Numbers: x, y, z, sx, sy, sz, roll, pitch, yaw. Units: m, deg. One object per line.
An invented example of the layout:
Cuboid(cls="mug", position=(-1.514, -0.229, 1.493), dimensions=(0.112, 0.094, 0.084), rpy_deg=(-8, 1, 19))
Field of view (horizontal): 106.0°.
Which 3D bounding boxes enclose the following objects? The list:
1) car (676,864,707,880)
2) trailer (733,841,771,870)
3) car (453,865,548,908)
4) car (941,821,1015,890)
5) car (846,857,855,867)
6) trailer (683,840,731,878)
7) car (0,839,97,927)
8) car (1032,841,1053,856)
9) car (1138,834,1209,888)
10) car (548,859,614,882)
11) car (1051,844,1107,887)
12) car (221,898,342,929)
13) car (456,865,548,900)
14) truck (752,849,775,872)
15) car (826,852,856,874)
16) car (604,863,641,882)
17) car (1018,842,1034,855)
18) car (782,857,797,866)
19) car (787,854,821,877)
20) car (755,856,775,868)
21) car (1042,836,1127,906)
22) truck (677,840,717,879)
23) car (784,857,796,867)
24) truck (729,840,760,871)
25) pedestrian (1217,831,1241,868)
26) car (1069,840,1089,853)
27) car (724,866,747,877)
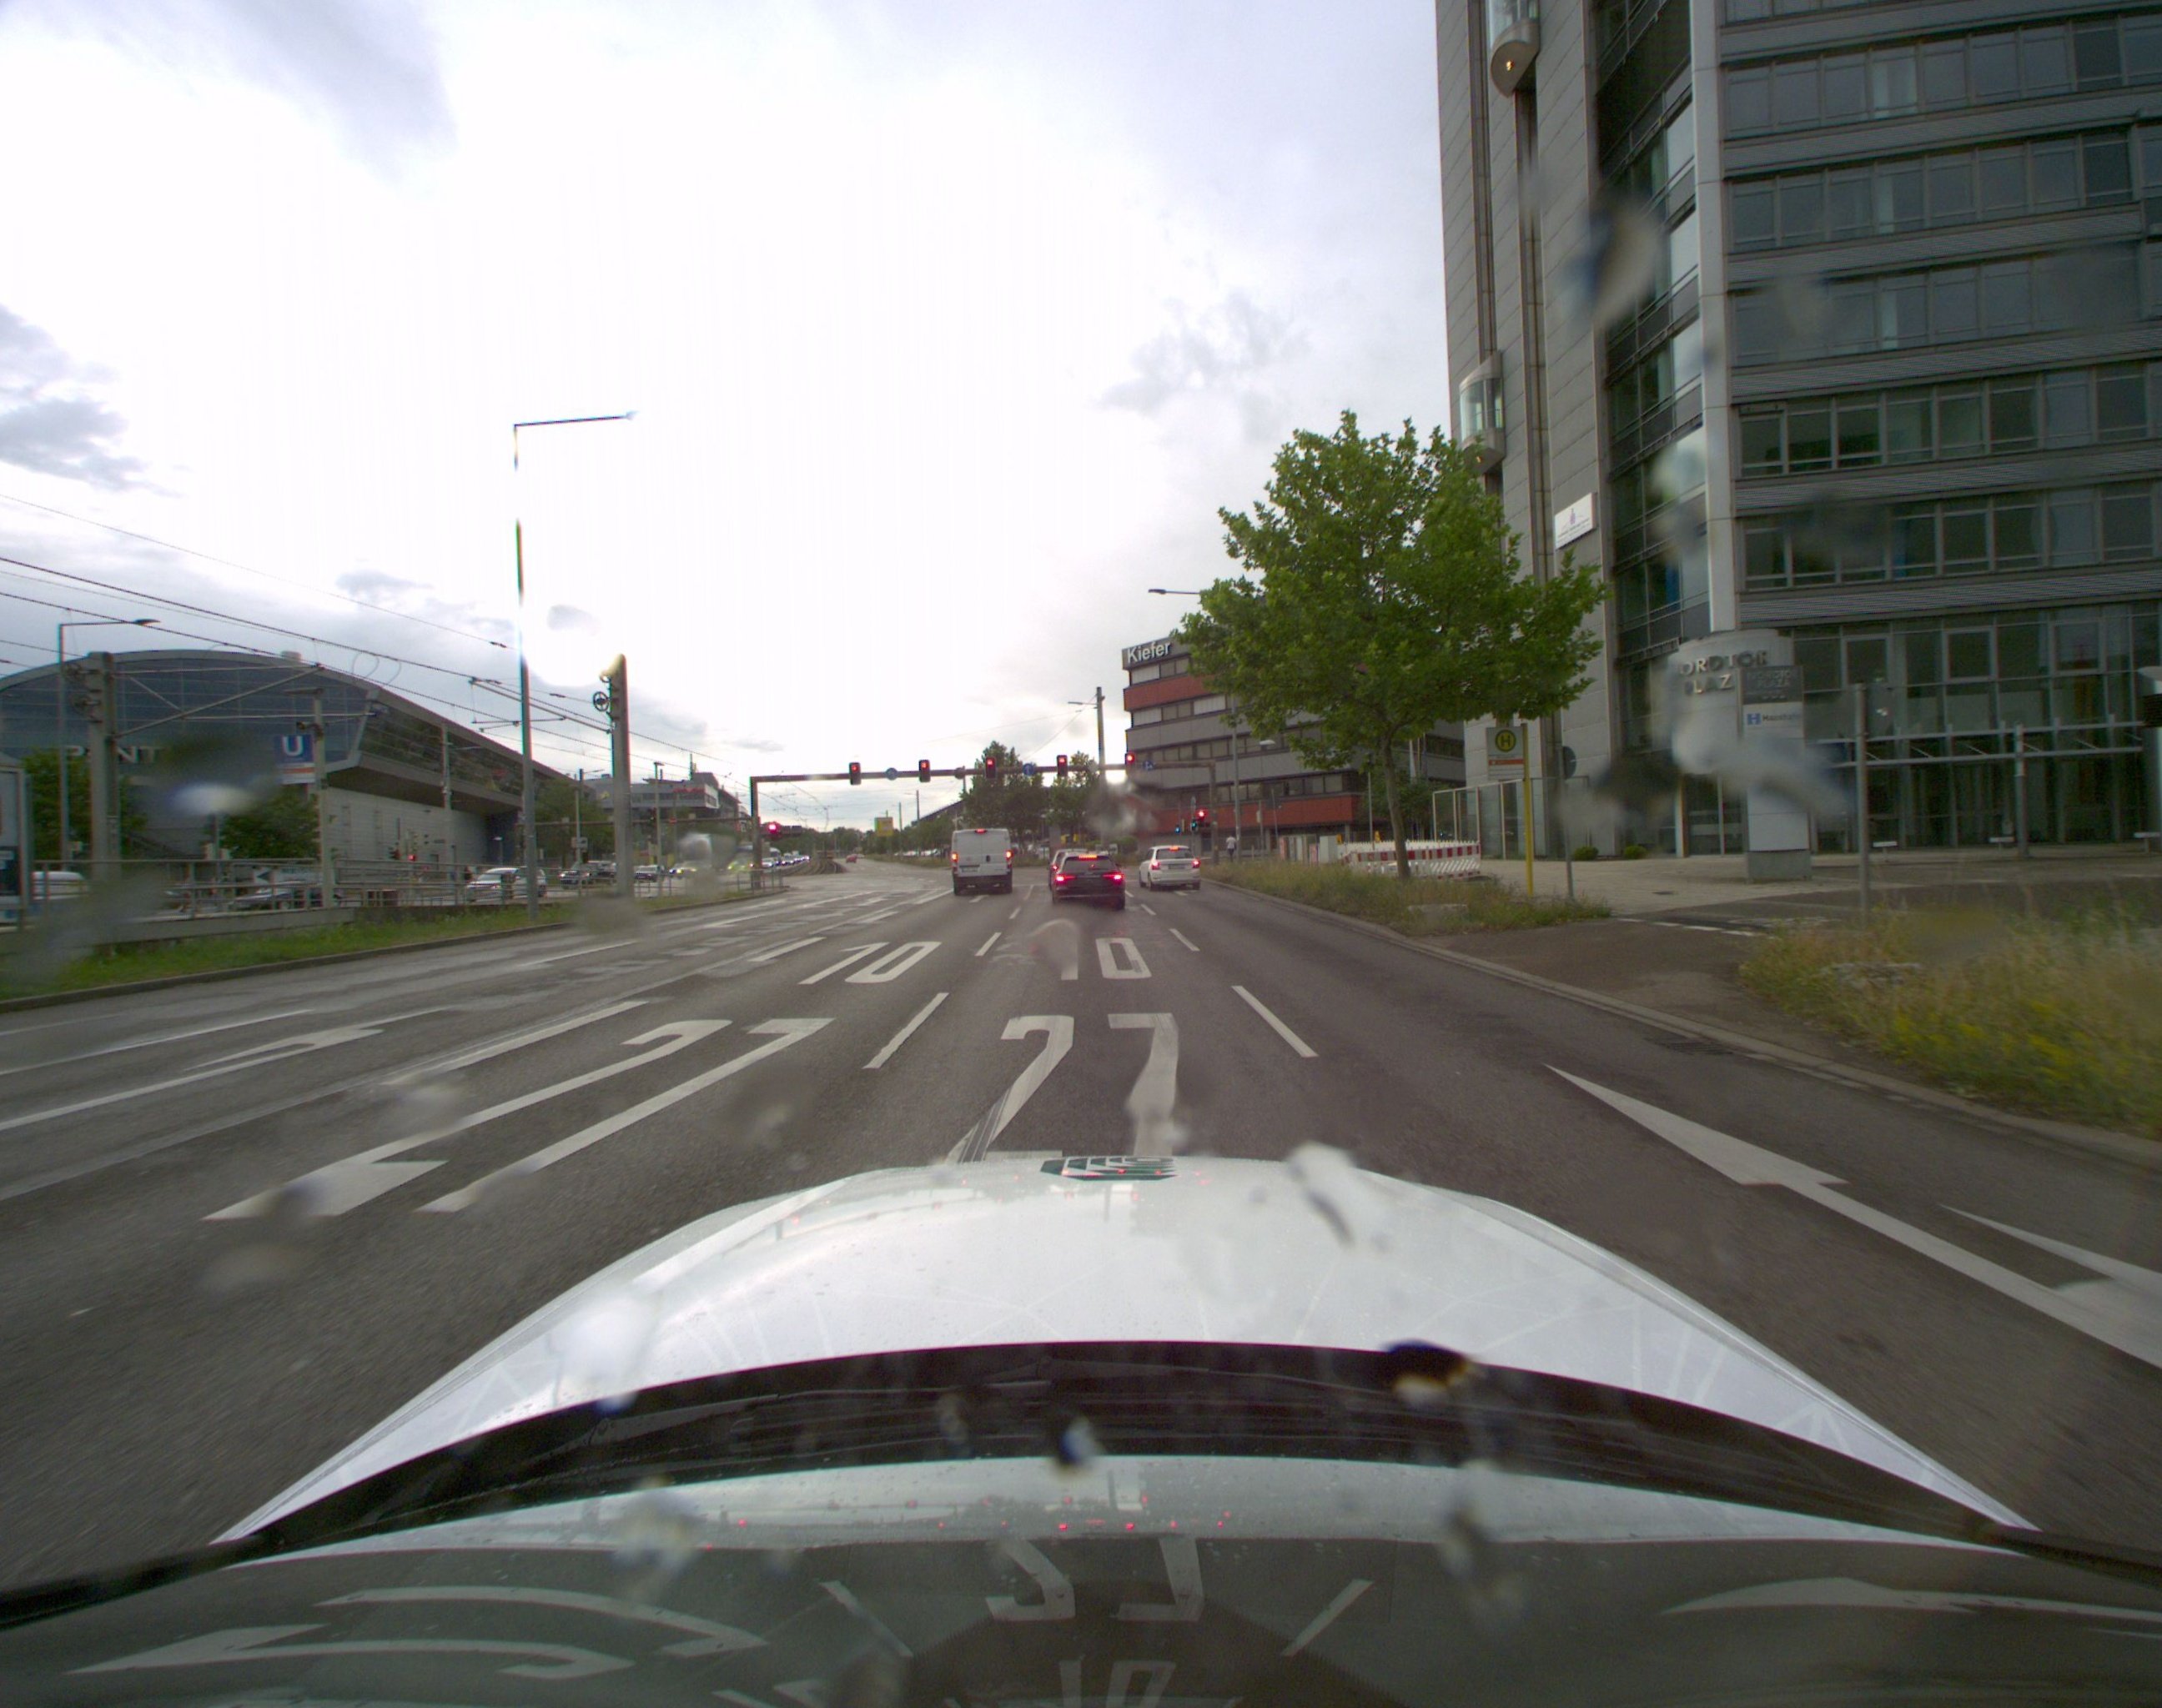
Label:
Cuboid(cls="car", position=(-36.532, 1.649, 76.483), dimensions=(1.741, 1.462, 4.134), rpy_deg=(0, -1, -13))
Cuboid(cls="trailer", position=(-49.623, 0.300, 123.218), dimensions=(2.651, 4.124, 12.696), rpy_deg=(-3, 0, -11))
Cuboid(cls="car", position=(-28.771, 1.562, 40.522), dimensions=(1.769, 2.014, 4.342), rpy_deg=(0, -1, -3))
Cuboid(cls="car", position=(-3.726, 0.058, 29.729), dimensions=(2.443, 2.294, 4.893), rpy_deg=(0, -1, -7))
Cuboid(cls="car", position=(-45.170, 1.611, 159.637), dimensions=(1.776, 2.014, 4.324), rpy_deg=(0, -1, -15))
Cuboid(cls="trailer", position=(-43.865, 0.515, 95.893), dimensions=(2.799, 4.107, 11.387), rpy_deg=(-3, 1, -14))
Cuboid(cls="car", position=(-28.258, 0.735, 20.004), dimensions=(1.988, 2.214, 5.140), rpy_deg=(0, -1, -2))
Cuboid(cls="car", position=(-5.445, -0.738, 115.802), dimensions=(1.998, 2.032, 3.978), rpy_deg=(-3, 0, -16))
Cuboid(cls="car", position=(3.071, 0.233, 27.842), dimensions=(1.824, 1.656, 3.997), rpy_deg=(-1, -1, -2))
Cuboid(cls="car", position=(-33.812, 1.109, 55.243), dimensions=(1.674, 1.498, 4.924), rpy_deg=(0, -1, -4))
Cuboid(cls="car", position=(-0.037, 0.416, 30.436), dimensions=(1.887, 1.465, 3.910), rpy_deg=(-2, 0, 1))
Cuboid(cls="car", position=(-34.975, 2.572, 35.781), dimensions=(1.522, 1.131, 3.931), rpy_deg=(0, -1, -2))
Cuboid(cls="car", position=(-28.634, 1.365, 40.454), dimensions=(1.523, 1.666, 4.267), rpy_deg=(0, -1, -1))
Cuboid(cls="truck", position=(-58.121, 1.187, 149.188), dimensions=(2.765, 3.805, 5.356), rpy_deg=(-4, 0, -32))
Cuboid(cls="car", position=(-23.134, 0.861, 78.632), dimensions=(1.769, 2.013, 4.342), rpy_deg=(0, 0, -4))
Cuboid(cls="car", position=(-41.075, 1.605, 73.003), dimensions=(1.571, 1.627, 4.069), rpy_deg=(0, 0, -9))
Cuboid(cls="car", position=(-8.394, -0.843, 124.642), dimensions=(1.683, 2.014, 3.522), rpy_deg=(0, -1, -16))
Cuboid(cls="car", position=(-51.459, 1.389, 143.666), dimensions=(1.905, 1.555, 4.546), rpy_deg=(0, 0, -13))
Cuboid(cls="car", position=(-24.924, 1.016, 73.381), dimensions=(1.769, 2.013, 4.342), rpy_deg=(0, 1, -4))
Cuboid(cls="car", position=(-43.903, 1.147, 113.288), dimensions=(1.888, 1.652, 4.079), rpy_deg=(0, -1, -12))
Cuboid(cls="car", position=(0.063, 0.412, 21.070), dimensions=(1.987, 1.637, 3.999), rpy_deg=(0, -1, -1))
Cuboid(cls="truck", position=(-42.309, 0.591, 89.850), dimensions=(2.838, 3.995, 5.954), rpy_deg=(-2, 1, -16))
Cuboid(cls="car", position=(-57.048, 1.617, 159.704), dimensions=(1.999, 1.837, 4.879), rpy_deg=(-1, 1, -18))
Cuboid(cls="truck", position=(-48.553, 0.245, 117.627), dimensions=(2.667, 4.130, 6.163), rpy_deg=(-3, 0, -11))
Cuboid(cls="pedestrian", position=(8.854, -0.272, 48.799), dimensions=(1.140, 2.125, 1.222), rpy_deg=(-3, 2, -1))
Cuboid(cls="car", position=(-0.359, -1.180, 128.021), dimensions=(1.877, 2.014, 3.747), rpy_deg=(0, -1, -21))
Cuboid(cls="car", position=(-39.671, 1.966, 93.535), dimensions=(1.912, 1.264, 4.389), rpy_deg=(0, -1, -16))
